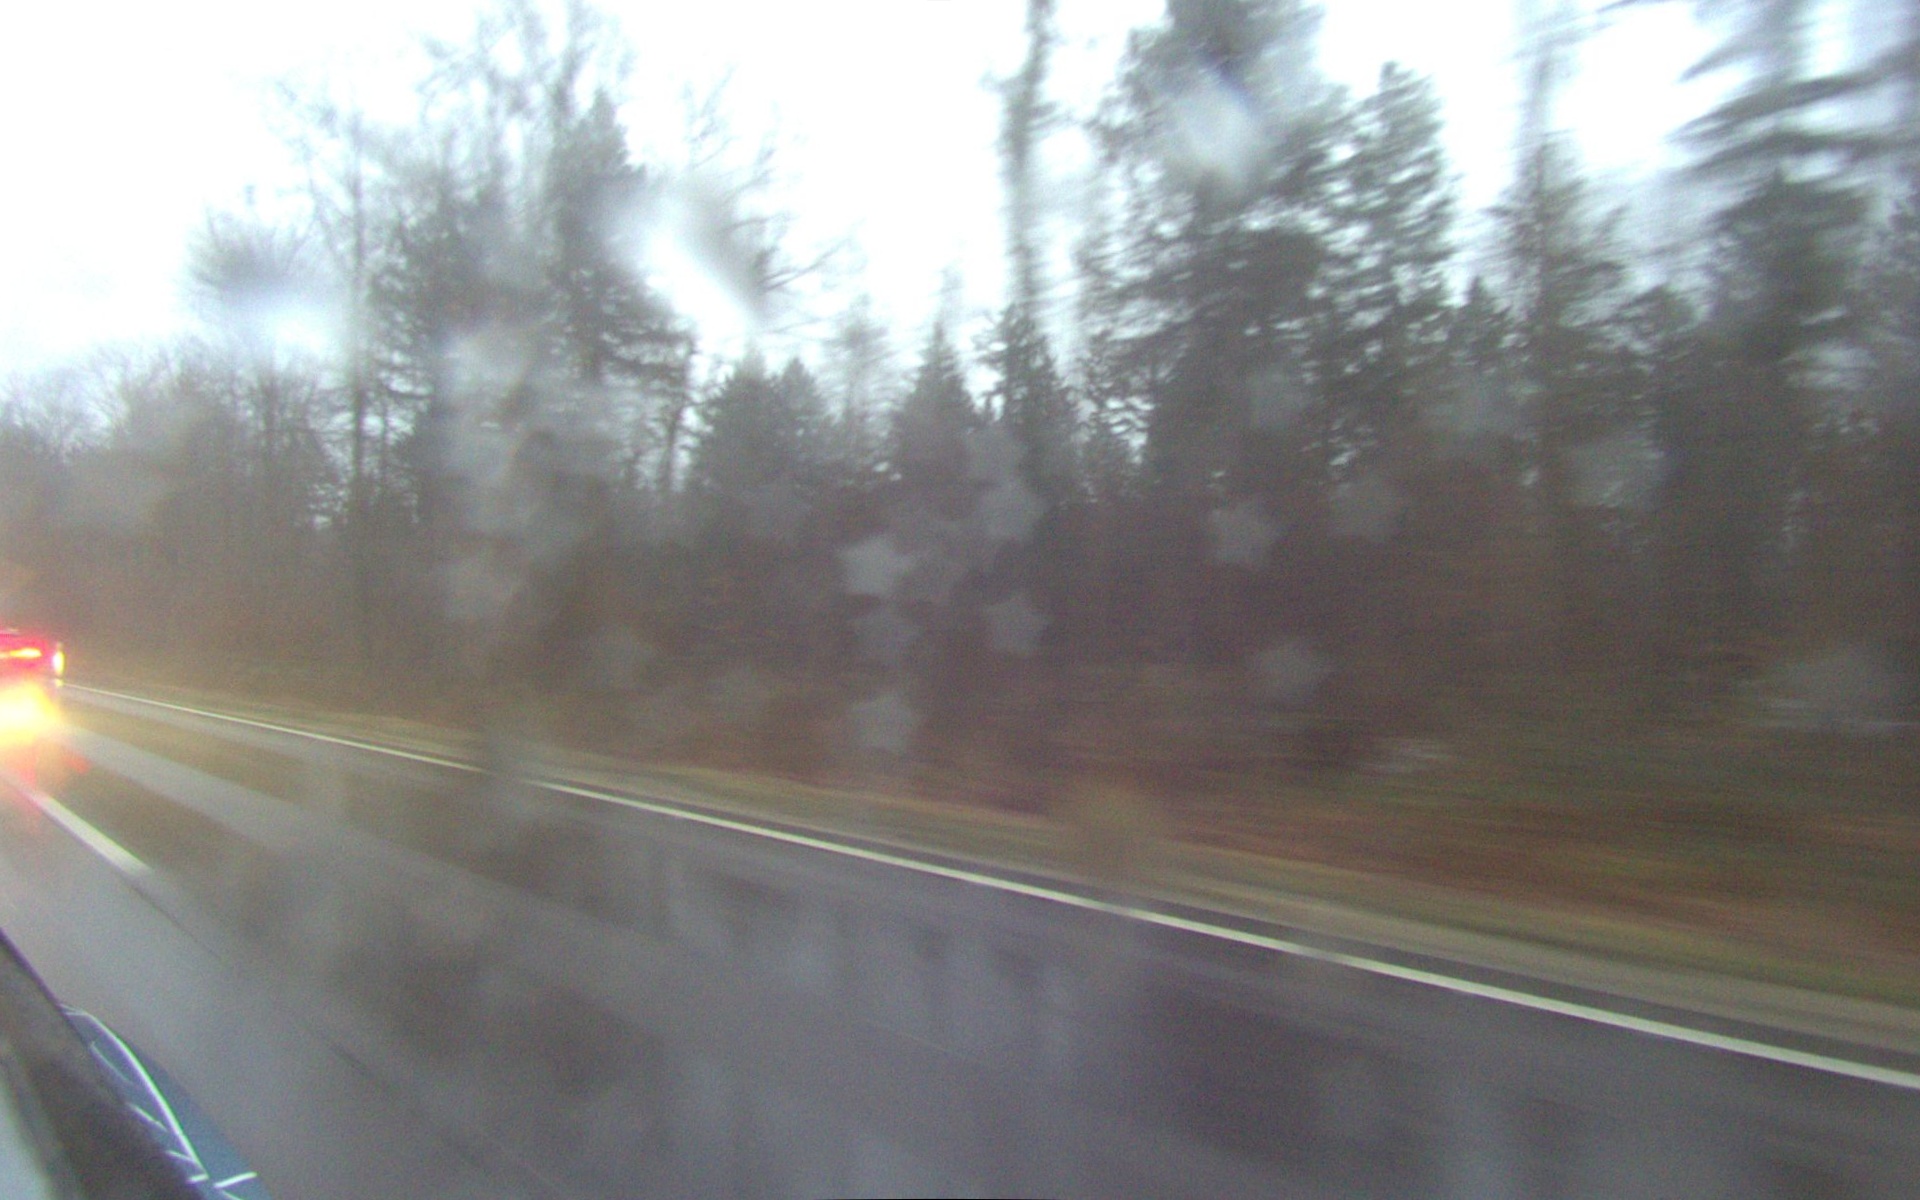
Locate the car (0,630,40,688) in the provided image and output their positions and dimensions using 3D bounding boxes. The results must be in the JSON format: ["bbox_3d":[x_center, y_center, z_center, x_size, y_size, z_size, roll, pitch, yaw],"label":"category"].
[{"bbox_3d":[-25.645,1.522,26.454,4.385,1.433,1.849,-1,-2,41],"label":"car"}]
